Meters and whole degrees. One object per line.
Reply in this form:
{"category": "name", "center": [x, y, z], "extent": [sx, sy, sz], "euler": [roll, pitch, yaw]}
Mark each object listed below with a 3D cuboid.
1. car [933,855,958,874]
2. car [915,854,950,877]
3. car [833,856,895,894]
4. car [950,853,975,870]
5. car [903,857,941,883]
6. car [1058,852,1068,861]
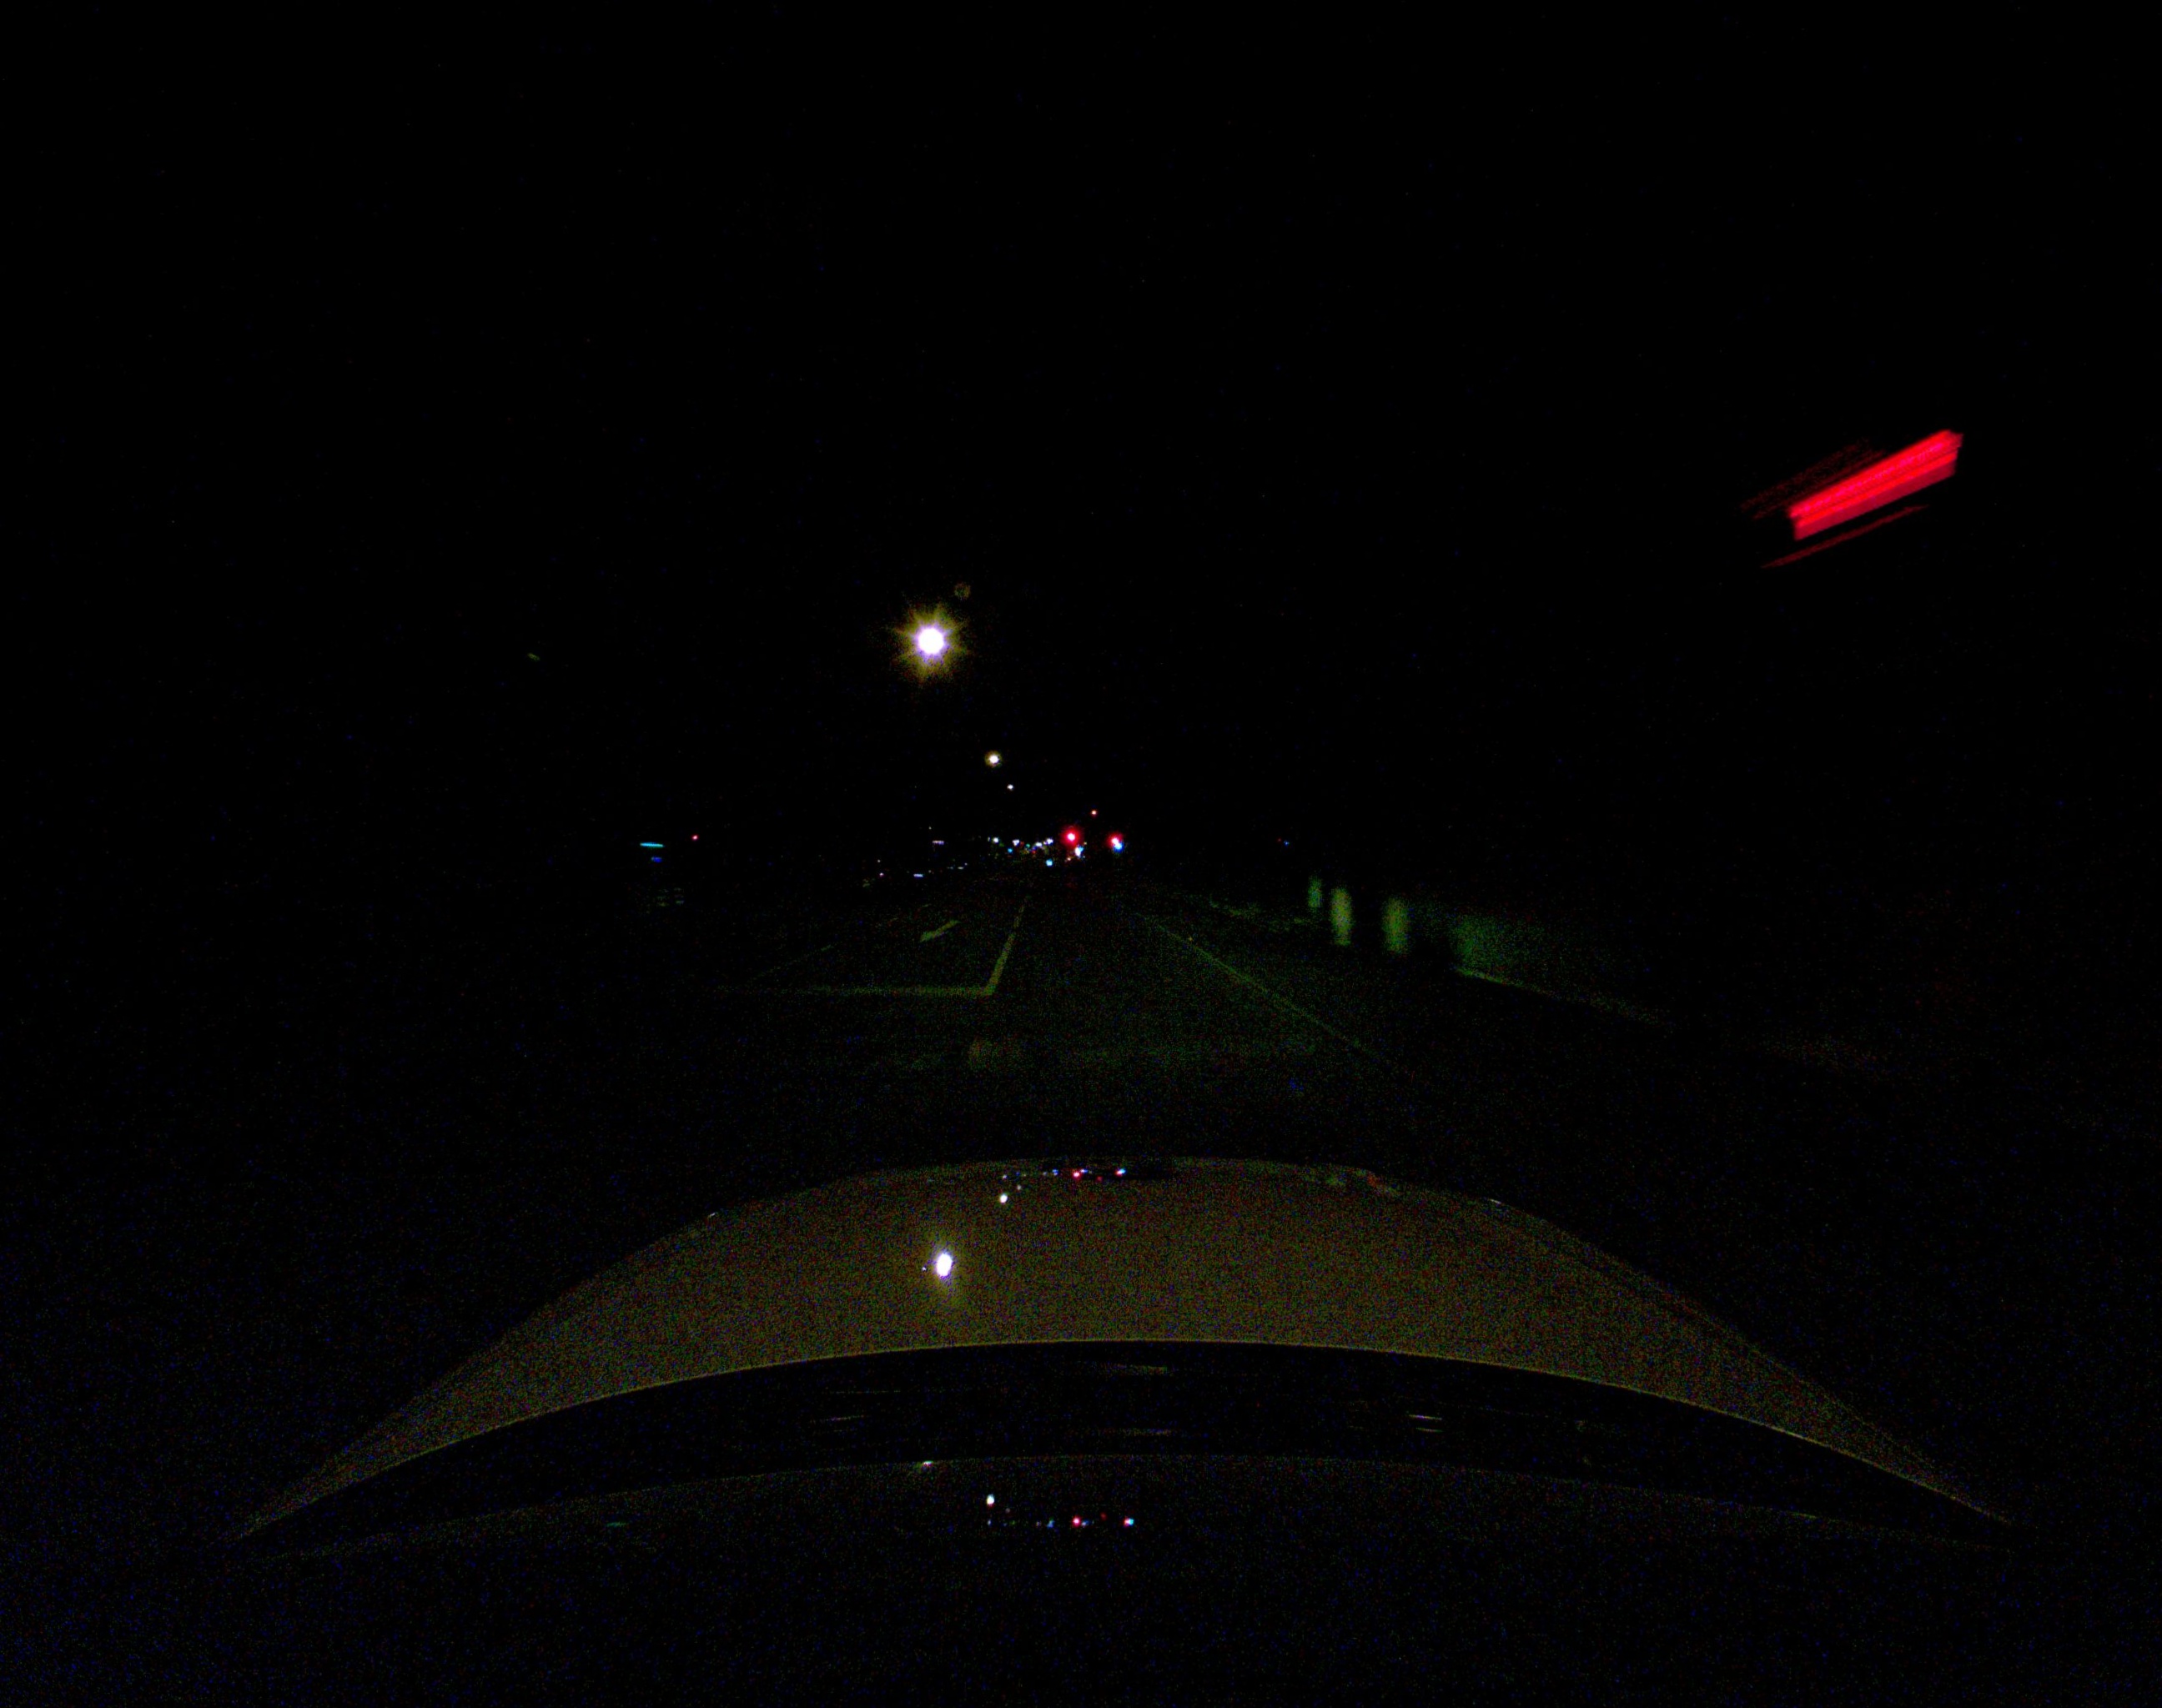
{"category": "car", "center": [-10.553, 0.790, 63.808], "extent": [1.620, 1.383, 4.443], "euler": [-1, 0, -6]}
{"category": "car", "center": [-10.066, 0.757, 55.492], "extent": [1.764, 1.486, 4.857], "euler": [-1, 0, -4]}
{"category": "car", "center": [-9.058, 0.840, 34.219], "extent": [1.710, 1.494, 3.985], "euler": [0, 0, -3]}
{"category": "car", "center": [-11.159, 0.665, 76.870], "extent": [1.895, 1.471, 4.448], "euler": [1, 0, -3]}
{"category": "car", "center": [-9.761, 0.955, 50.402], "extent": [1.765, 1.486, 4.760], "euler": [-1, 0, -5]}
{"category": "car", "center": [-2.935, 0.438, 135.746], "extent": [1.647, 1.431, 3.998], "euler": [-1, 0, -1]}
